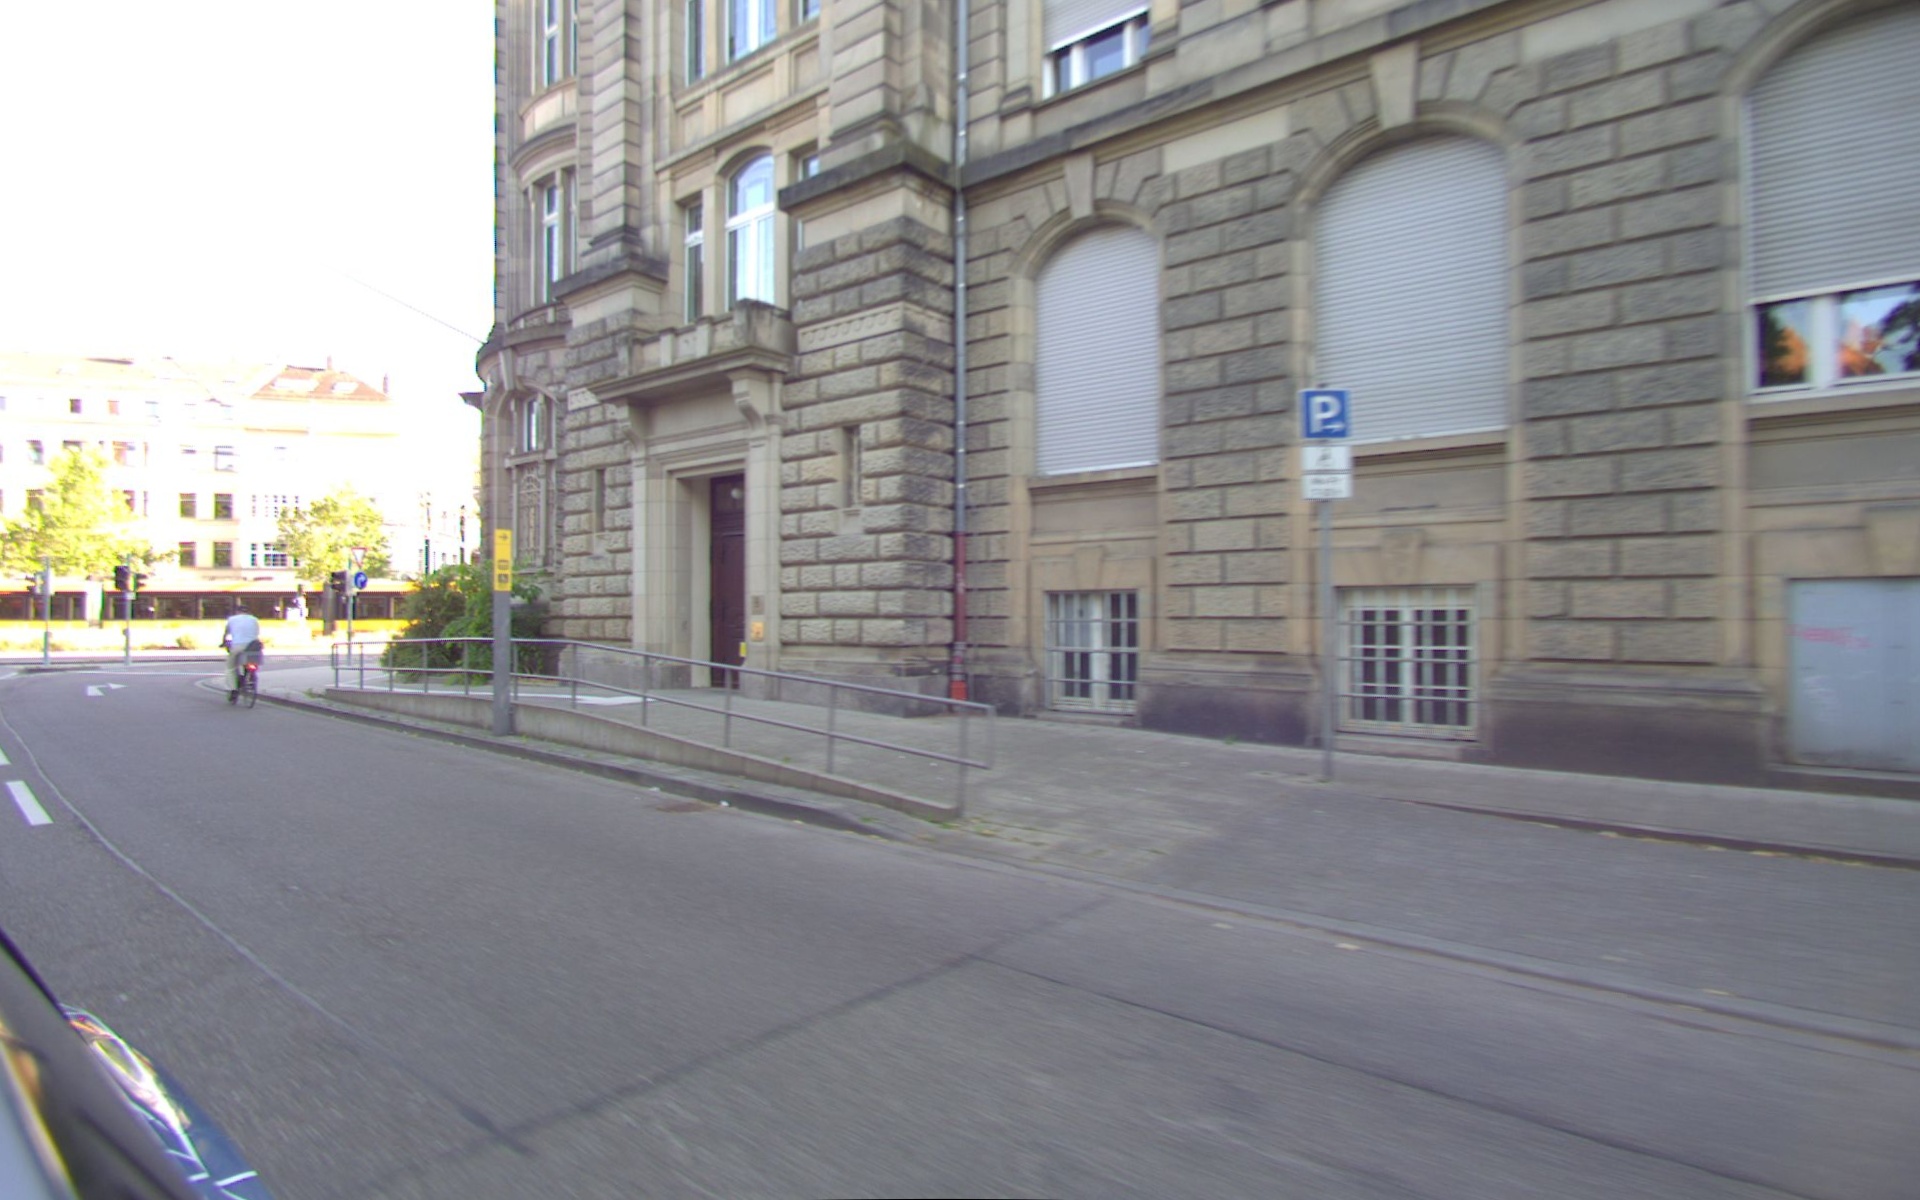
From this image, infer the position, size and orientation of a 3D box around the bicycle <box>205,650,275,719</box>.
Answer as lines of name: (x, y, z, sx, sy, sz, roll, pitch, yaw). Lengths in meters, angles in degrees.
bicycle: (-12.398, 1.417, 17.398, 0.654, 1.078, 2.155, 2, -2, -44)

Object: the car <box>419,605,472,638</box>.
car: (-37.656, 1.609, 74.289, 2.428, 2.284, 7.314, 0, -2, -19)

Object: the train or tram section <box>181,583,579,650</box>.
train or tram section: (-32.294, 0.971, 57.542, 19.603, 3.586, 3.130, 0, -2, -12)

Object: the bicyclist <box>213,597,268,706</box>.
bicyclist: (-12.336, 0.866, 17.347, 0.637, 1.821, 0.781, 2, -3, -44)

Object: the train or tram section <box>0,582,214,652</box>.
train or tram section: (-50.027, 0.897, 53.423, 17.183, 3.586, 3.131, 0, -2, -14)
